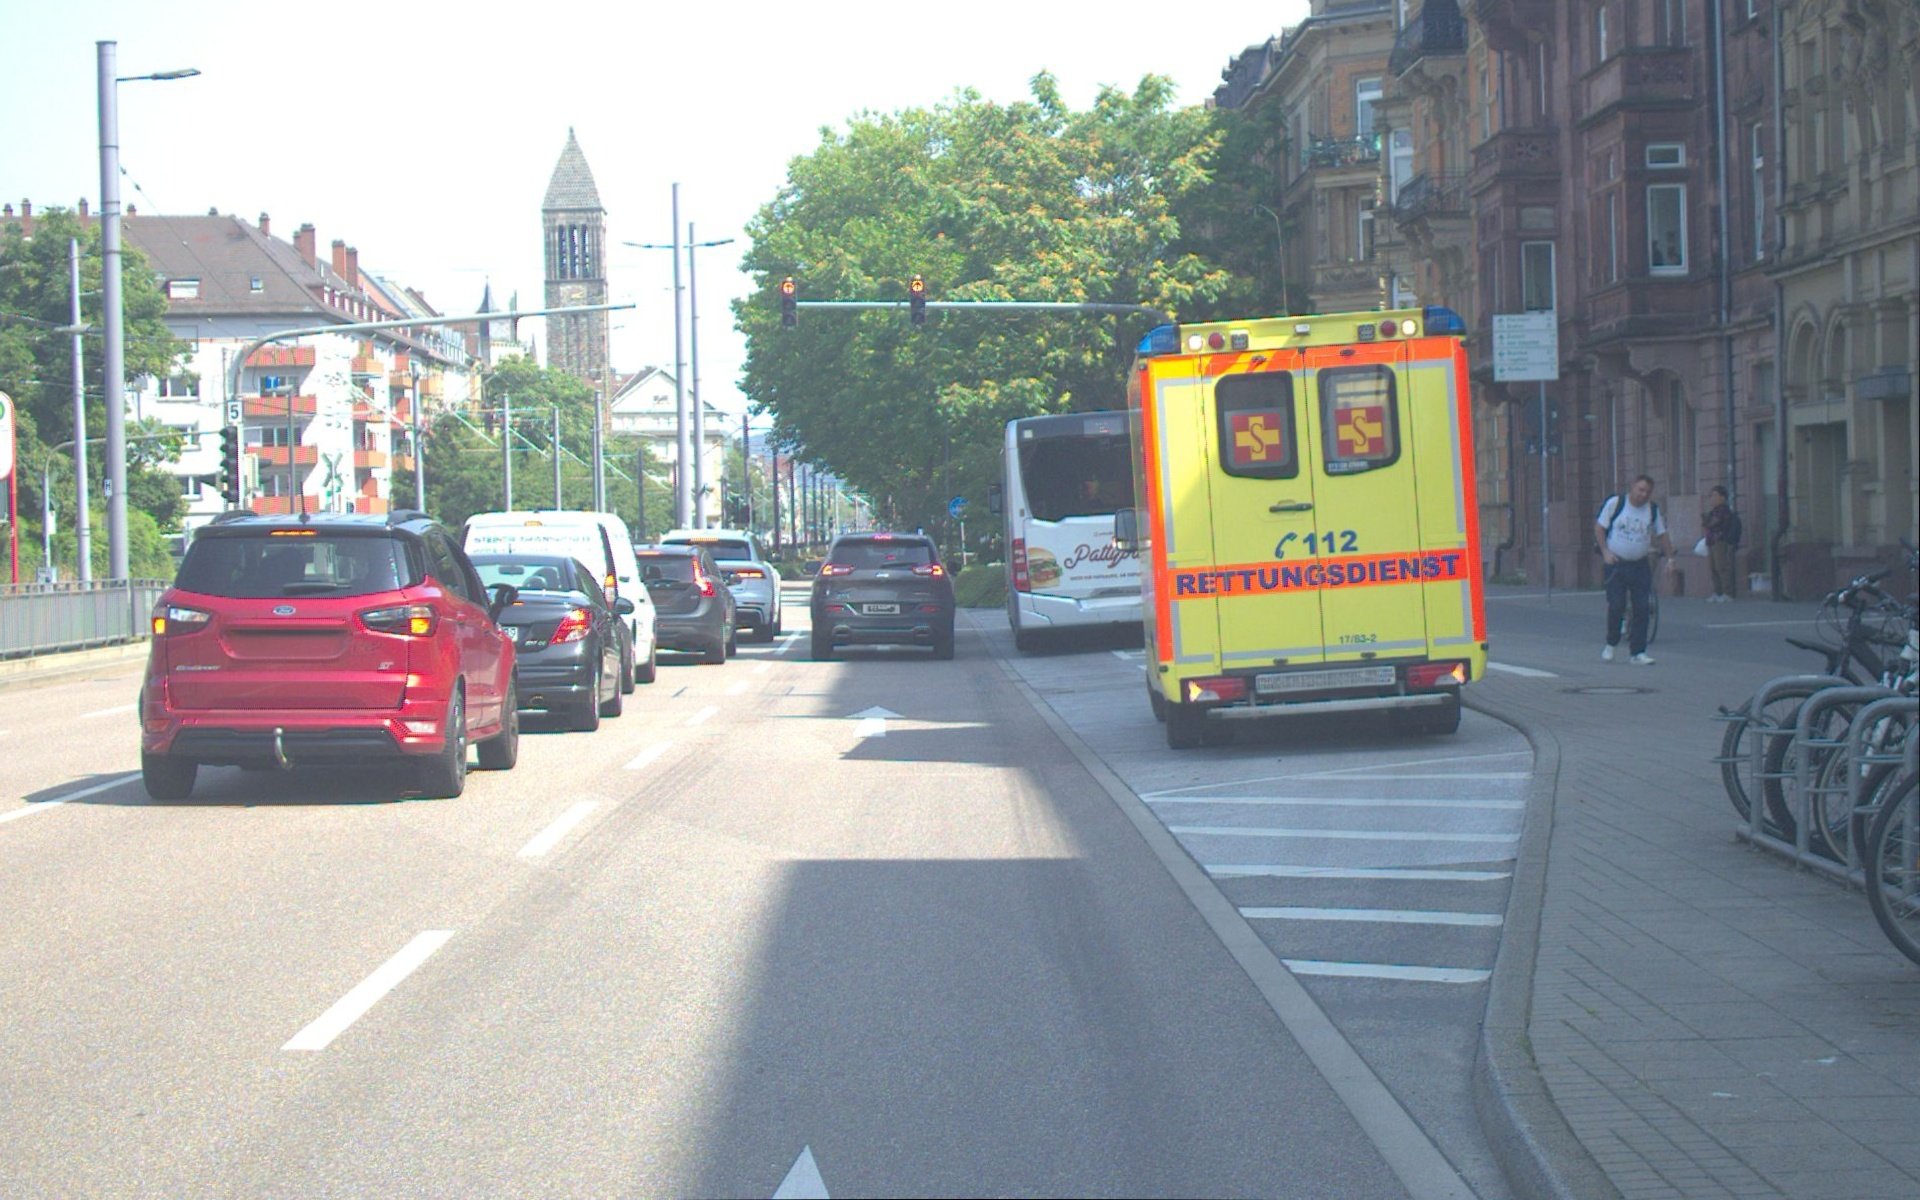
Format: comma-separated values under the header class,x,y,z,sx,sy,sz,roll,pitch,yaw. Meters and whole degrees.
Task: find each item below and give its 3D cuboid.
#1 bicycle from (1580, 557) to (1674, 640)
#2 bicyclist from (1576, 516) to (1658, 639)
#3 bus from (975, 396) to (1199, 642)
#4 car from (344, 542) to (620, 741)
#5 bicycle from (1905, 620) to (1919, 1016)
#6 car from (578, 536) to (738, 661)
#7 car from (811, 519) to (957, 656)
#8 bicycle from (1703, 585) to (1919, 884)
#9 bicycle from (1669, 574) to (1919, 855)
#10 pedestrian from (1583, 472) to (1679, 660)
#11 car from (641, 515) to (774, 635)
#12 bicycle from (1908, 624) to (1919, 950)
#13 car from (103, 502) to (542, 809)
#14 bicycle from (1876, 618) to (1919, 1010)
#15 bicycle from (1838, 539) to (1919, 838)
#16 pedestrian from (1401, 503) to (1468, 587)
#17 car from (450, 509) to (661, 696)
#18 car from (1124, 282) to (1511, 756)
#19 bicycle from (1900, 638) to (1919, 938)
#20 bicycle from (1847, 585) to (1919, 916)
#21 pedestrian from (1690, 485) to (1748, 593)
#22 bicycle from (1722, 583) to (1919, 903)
class,x,y,z,sx,sy,sz,roll,pitch,yaw
bicycle,7.252,-0.030,37.433,0.589,0.852,1.776,-2,1,-2
bicyclist,7.192,-0.247,37.648,0.753,1.317,0.582,-2,1,-1
bus,1.620,-1.126,49.348,2.534,3.021,12.437,-1,1,-1
car,-3.779,0.274,27.769,1.790,1.426,4.001,-2,1,-2
bicycle,3.659,0.583,9.304,2.120,1.068,0.382,-1,2,-5
car,-3.773,-0.032,43.532,1.790,1.467,4.000,-1,0,-2
car,-1.019,-0.170,44.901,1.790,1.672,4.000,-1,0,-2
bicycle,3.683,0.484,12.860,1.658,1.068,0.644,-1,1,0
bicycle,3.750,0.438,13.592,1.776,1.068,0.644,-1,1,4
pedestrian,6.010,-0.304,30.772,0.697,1.661,0.602,-1,1,25
car,-3.735,-0.367,51.358,1.790,1.692,4.000,-1,0,-2
bicycle,3.761,0.582,10.672,1.537,1.013,0.365,-1,2,0
car,-3.682,0.256,20.568,1.762,1.612,4.082,-1,1,1
bicycle,3.396,0.587,9.682,1.537,1.068,0.365,-1,2,0
bicycle,4.557,0.349,14.266,1.674,1.211,0.644,-1,1,5
pedestrian,10.440,-1.221,75.708,1.249,1.745,1.526,-1,3,0
car,-4.078,0.013,35.183,1.790,1.774,4.000,-1,0,-2
car,2.389,-0.576,24.398,2.299,2.878,5.599,-2,1,3
bicycle,3.837,0.598,11.036,1.537,0.949,0.365,-1,2,0
bicycle,3.803,0.487,11.523,1.537,1.068,0.472,-1,2,0
pedestrian,11.433,-0.919,51.771,0.622,1.587,0.696,-2,1,-6
bicycle,3.589,0.486,12.112,1.658,1.068,0.644,-1,2,0
